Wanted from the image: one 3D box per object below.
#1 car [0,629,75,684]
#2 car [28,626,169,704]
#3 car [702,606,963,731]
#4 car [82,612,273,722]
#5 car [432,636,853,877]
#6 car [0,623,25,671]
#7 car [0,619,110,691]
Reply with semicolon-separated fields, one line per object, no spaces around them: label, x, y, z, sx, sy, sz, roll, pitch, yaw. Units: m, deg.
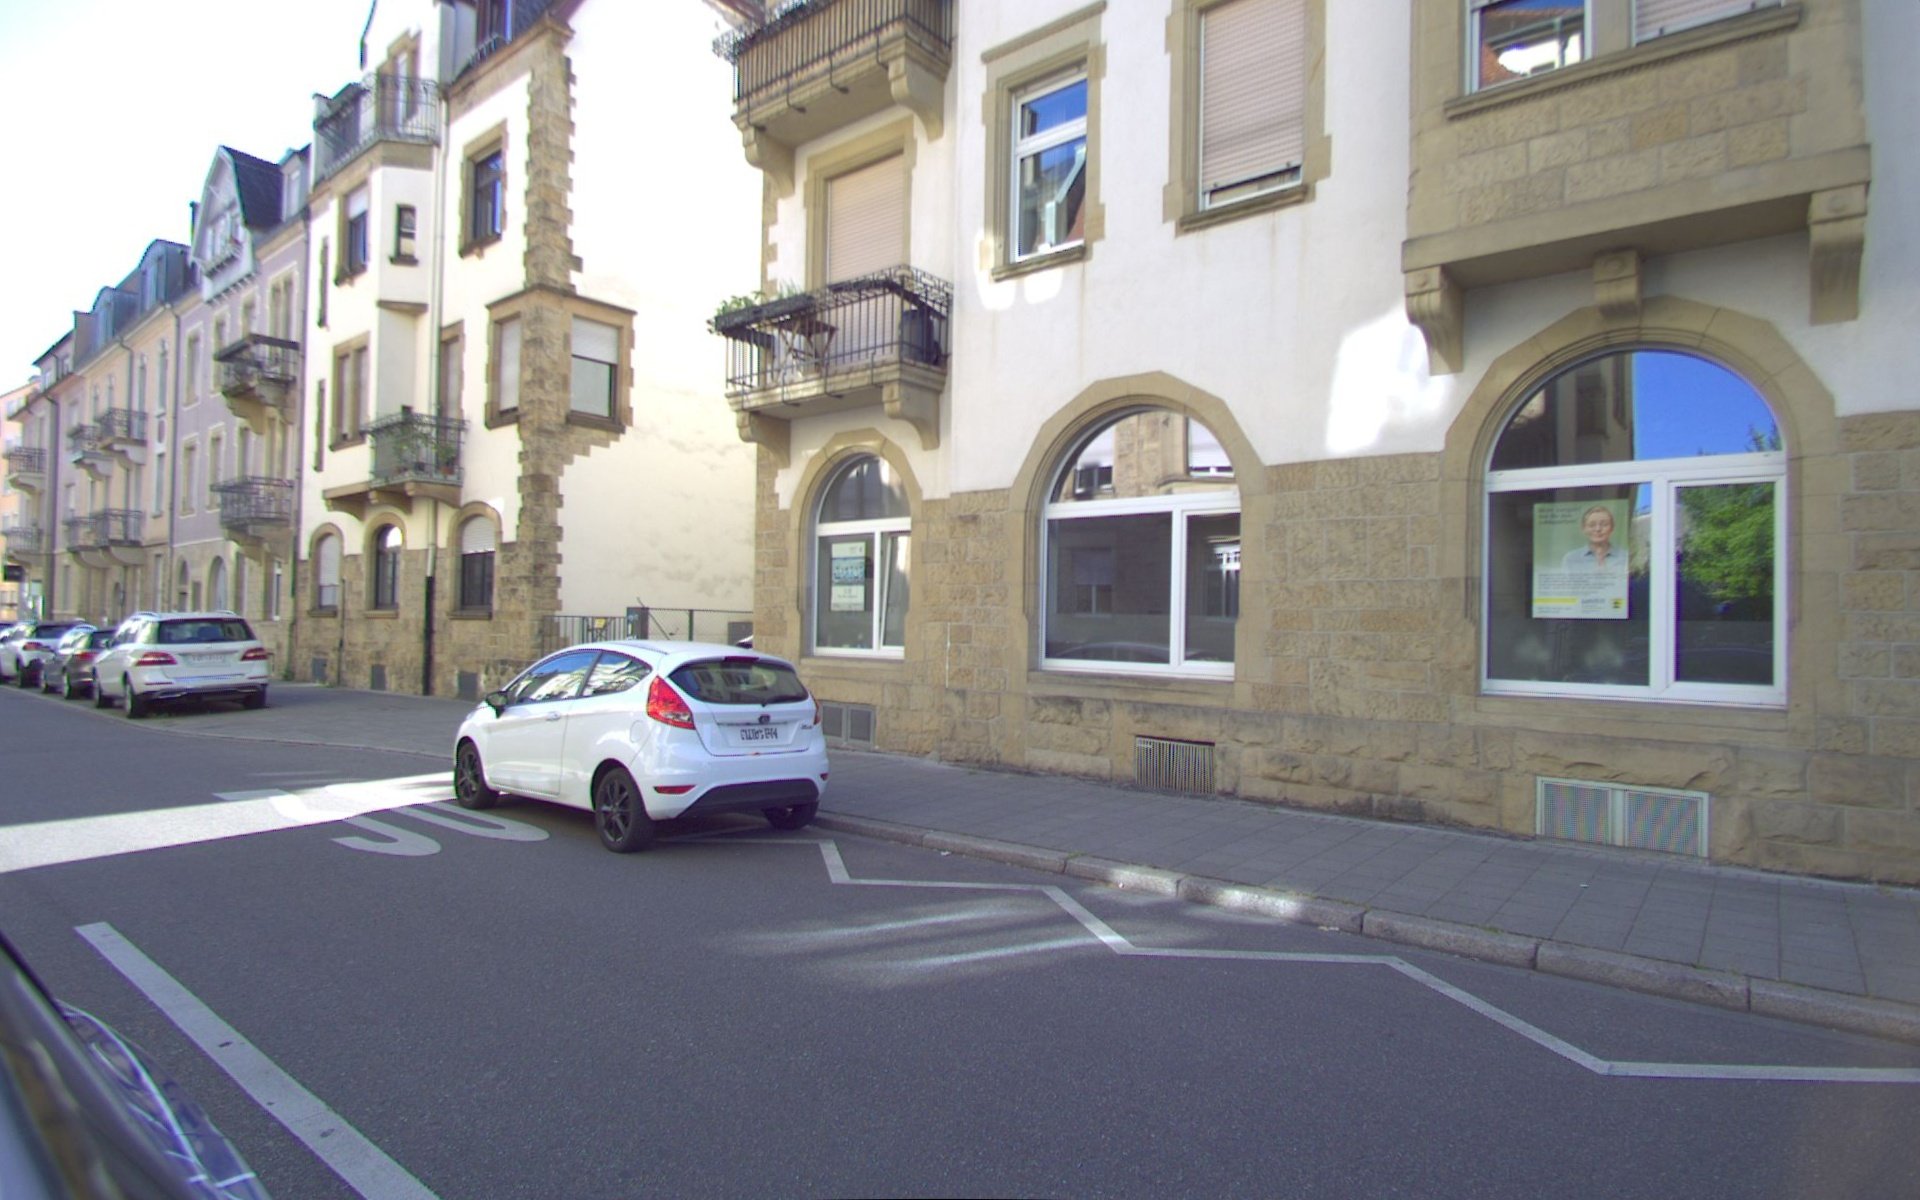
car;-26.871;1.568;28.863;3.658;1.404;1.658;-1;1;36
car;-18.555;1.314;21.741;4.275;1.498;1.558;-1;-1;39
car;-1.939;1.050;16.327;1.908;1.741;3.928;-2;-3;40
car;-14.119;1.109;18.160;4.724;1.735;1.872;-1;-2;42
car;-2.718;1.048;8.231;3.734;1.475;1.616;-1;-2;43
car;-33.064;1.570;34.126;3.719;1.550;1.698;-1;-2;38
car;-22.863;1.326;25.275;4.015;1.595;1.698;-1;1;38
